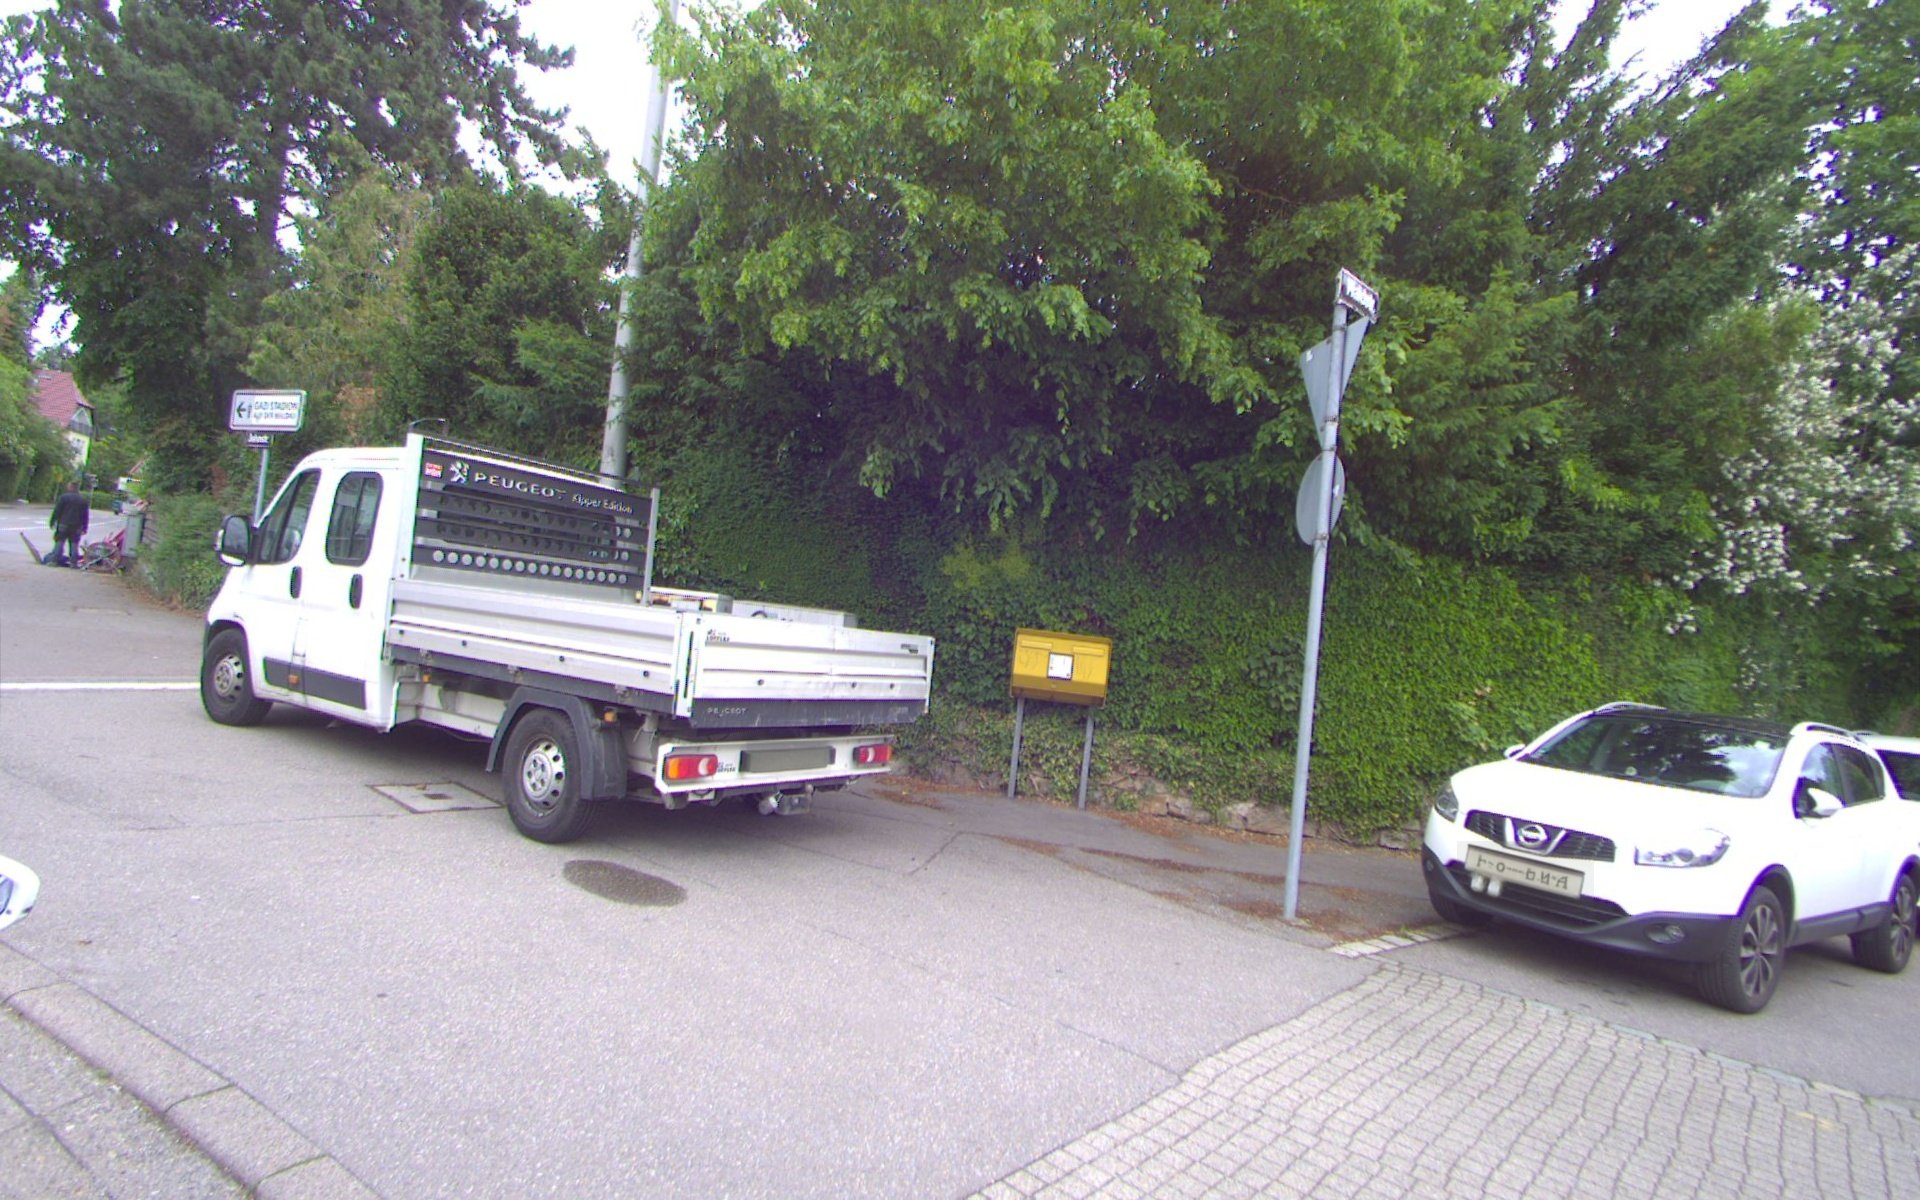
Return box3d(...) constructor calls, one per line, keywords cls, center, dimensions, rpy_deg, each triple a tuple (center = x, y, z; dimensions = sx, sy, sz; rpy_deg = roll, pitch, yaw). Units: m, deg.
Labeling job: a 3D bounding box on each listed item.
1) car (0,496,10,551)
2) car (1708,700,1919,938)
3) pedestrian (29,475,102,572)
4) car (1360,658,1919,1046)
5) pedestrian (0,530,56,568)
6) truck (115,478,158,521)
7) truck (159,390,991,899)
box3d(cls="car", center=(-25.350, -2.072, 24.976), dimensions=(1.787, 1.431, 4.296), rpy_deg=(8, -2, -35))
box3d(cls="car", center=(8.936, 2.030, 9.357), dimensions=(4.030, 1.679, 1.852), rpy_deg=(9, -2, -34))
box3d(cls="pedestrian", center=(-19.568, -1.665, 22.005), dimensions=(0.788, 1.946, 0.847), rpy_deg=(8, 0, 34))
box3d(cls="car", center=(4.793, 1.511, 6.753), dimensions=(4.031, 1.659, 1.851), rpy_deg=(9, 0, -35))
box3d(cls="pedestrian", center=(-20.687, -1.125, 22.330), dimensions=(0.574, 0.705, 0.647), rpy_deg=(8, -1, 13))
box3d(cls="truck", center=(-78.583, -9.520, 96.134), dimensions=(2.766, 3.501, 7.414), rpy_deg=(8, -2, -39))
box3d(cls="truck", center=(-3.098, 0.059, 7.370), dimensions=(6.090, 2.379, 2.400), rpy_deg=(6, -2, 34))
